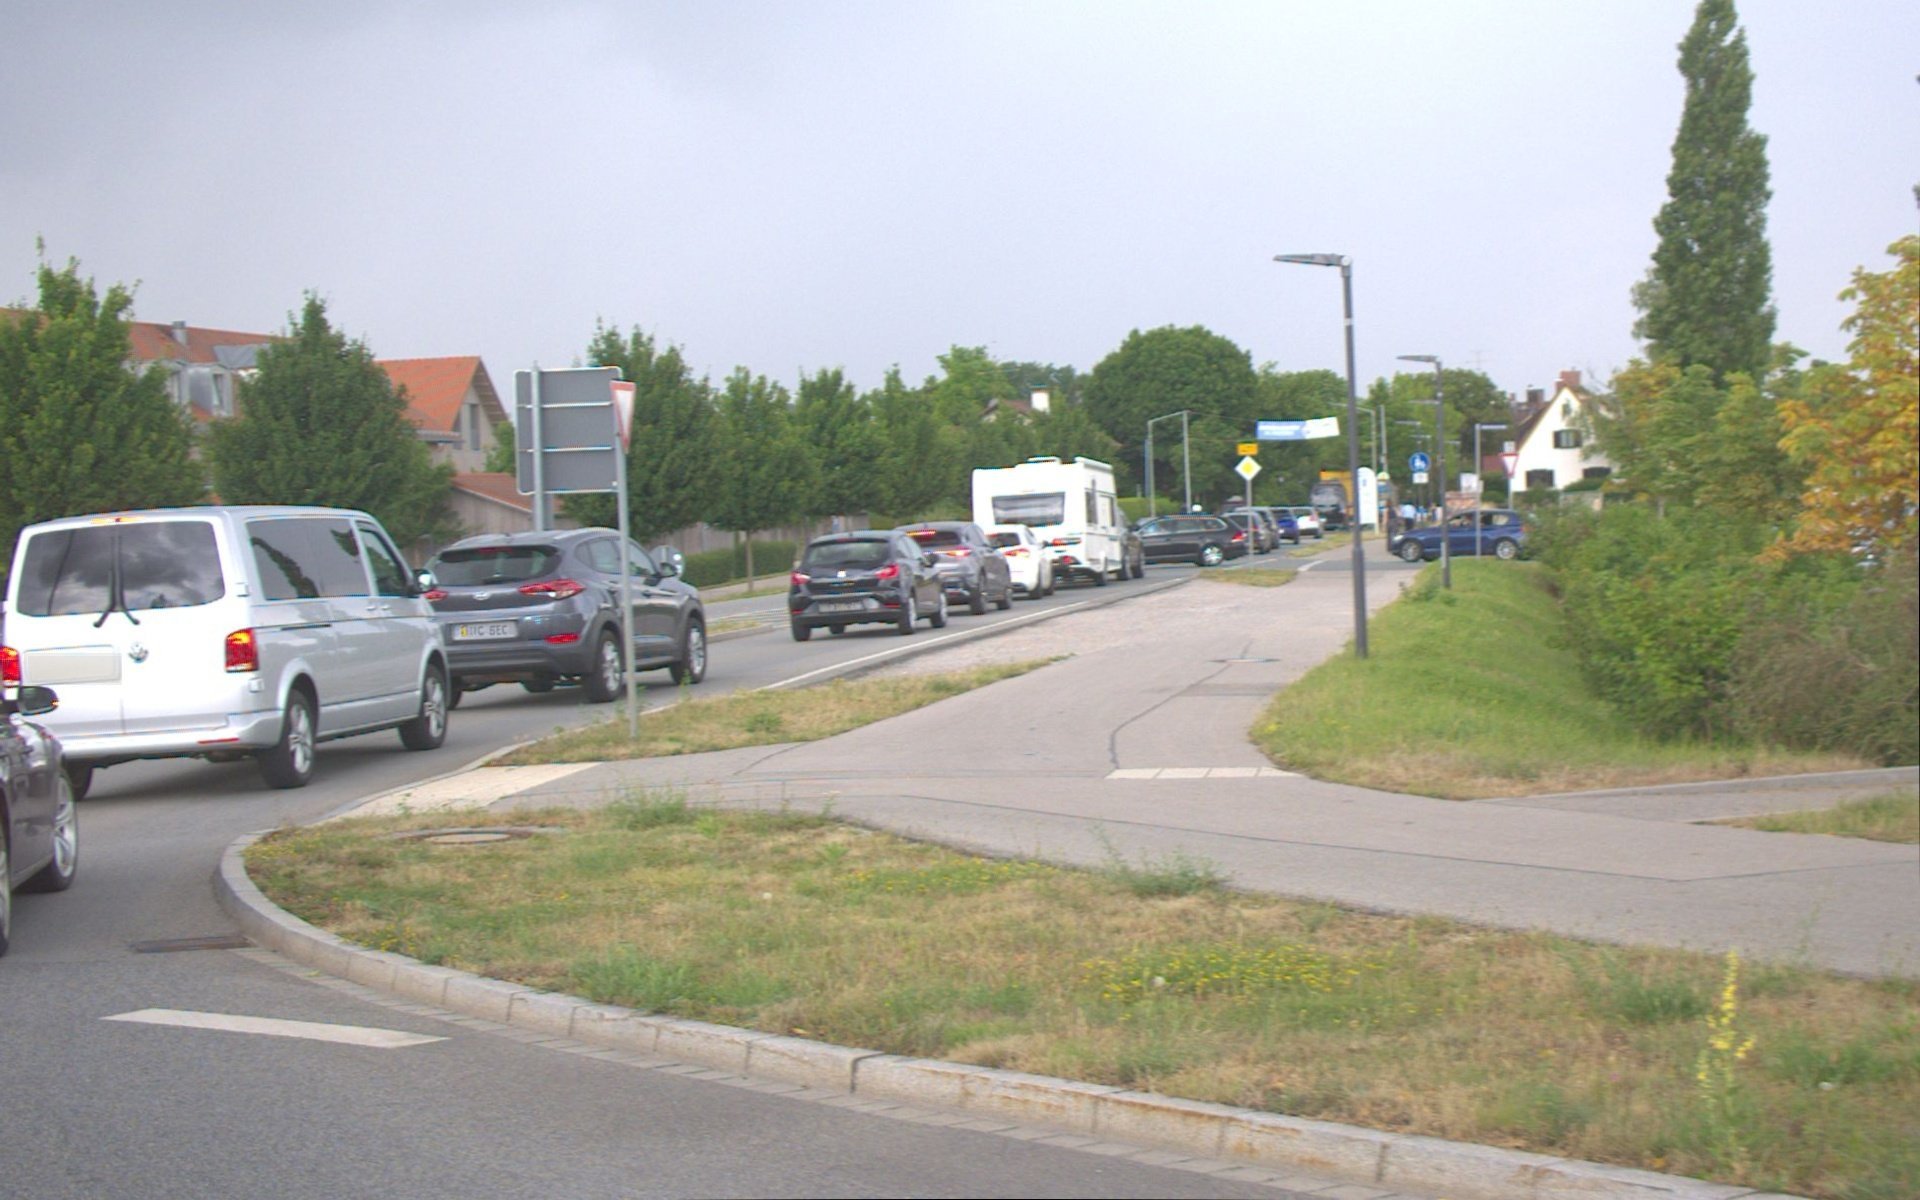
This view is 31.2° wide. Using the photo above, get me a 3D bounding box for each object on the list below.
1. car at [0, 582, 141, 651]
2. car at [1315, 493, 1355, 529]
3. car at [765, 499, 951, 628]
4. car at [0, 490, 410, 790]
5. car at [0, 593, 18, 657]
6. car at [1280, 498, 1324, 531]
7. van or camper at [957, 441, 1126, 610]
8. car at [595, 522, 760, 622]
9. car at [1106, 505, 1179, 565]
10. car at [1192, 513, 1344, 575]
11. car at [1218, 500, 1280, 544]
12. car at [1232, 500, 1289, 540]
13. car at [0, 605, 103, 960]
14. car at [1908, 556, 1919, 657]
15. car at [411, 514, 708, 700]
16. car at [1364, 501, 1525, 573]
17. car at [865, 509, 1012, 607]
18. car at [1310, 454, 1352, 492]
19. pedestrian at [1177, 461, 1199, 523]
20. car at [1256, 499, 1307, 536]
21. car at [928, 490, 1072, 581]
[{"bbox_3d":[-21.441,0.401,81.040,3.730,1.477,1.686,-2,2,6],"label":"car"},{"bbox_3d":[19.817,-4.693,181.437,1.994,1.831,3.999,-1,1,7],"label":"car"},{"bbox_3d":[-1.356,-0.531,47.332,1.777,1.612,3.999,-3,1,9],"label":"car"},{"bbox_3d":[-5.366,0.230,24.575,1.867,1.927,3.999,-2,1,5],"label":"car"},{"bbox_3d":[-21.849,0.587,71.483,3.915,1.310,1.842,-2,1,7],"label":"car"},{"bbox_3d":[15.880,-3.971,159.489,1.845,1.431,3.999,-1,1,8],"label":"car"},{"bbox_3d":[1.801,-1.553,72.454,2.626,3.312,6.819,-2,1,9],"label":"van or camper"},{"bbox_3d":[-4.441,-0.466,54.515,1.777,1.429,3.801,-3,1,8],"label":"car"},{"bbox_3d":[6.302,-2.253,118.435,1.994,2.007,3.999,-1,1,10],"label":"car"},{"bbox_3d":[8.373,-1.529,93.421,3.988,1.612,1.999,1,2,9],"label":"car"},{"bbox_3d":[9.919,-2.672,117.658,1.845,1.431,3.999,-1,1,8],"label":"car"},{"bbox_3d":[11.198,-2.997,128.002,1.845,1.431,3.999,-1,1,8],"label":"car"},{"bbox_3d":[-4.945,0.770,15.077,1.783,1.387,4.133,-2,1,-7],"label":"car"},{"bbox_3d":[15.957,0.029,49.466,4.234,1.435,1.999,-2,1,9],"label":"car"},{"bbox_3d":[-3.825,0.023,33.512,1.777,1.612,3.999,-2,1,9],"label":"car"},{"bbox_3d":[13.270,-1.722,94.220,3.993,1.787,1.616,-2,1,29],"label":"car"},{"bbox_3d":[-0.307,-0.701,55.184,1.777,1.429,3.801,-3,1,8],"label":"car"},{"bbox_3d":[22.575,-7.740,209.252,1.995,2.204,3.998,-2,2,13],"label":"car"},{"bbox_3d":[7.419,-3.509,111.816,0.579,2.006,0.681,1,2,15],"label":"pedestrian"},{"bbox_3d":[13.198,-3.403,141.155,1.845,1.431,3.999,-1,1,8],"label":"car"},{"bbox_3d":[0.787,-1.199,64.015,1.994,1.590,3.998,-2,1,10],"label":"car"}]
